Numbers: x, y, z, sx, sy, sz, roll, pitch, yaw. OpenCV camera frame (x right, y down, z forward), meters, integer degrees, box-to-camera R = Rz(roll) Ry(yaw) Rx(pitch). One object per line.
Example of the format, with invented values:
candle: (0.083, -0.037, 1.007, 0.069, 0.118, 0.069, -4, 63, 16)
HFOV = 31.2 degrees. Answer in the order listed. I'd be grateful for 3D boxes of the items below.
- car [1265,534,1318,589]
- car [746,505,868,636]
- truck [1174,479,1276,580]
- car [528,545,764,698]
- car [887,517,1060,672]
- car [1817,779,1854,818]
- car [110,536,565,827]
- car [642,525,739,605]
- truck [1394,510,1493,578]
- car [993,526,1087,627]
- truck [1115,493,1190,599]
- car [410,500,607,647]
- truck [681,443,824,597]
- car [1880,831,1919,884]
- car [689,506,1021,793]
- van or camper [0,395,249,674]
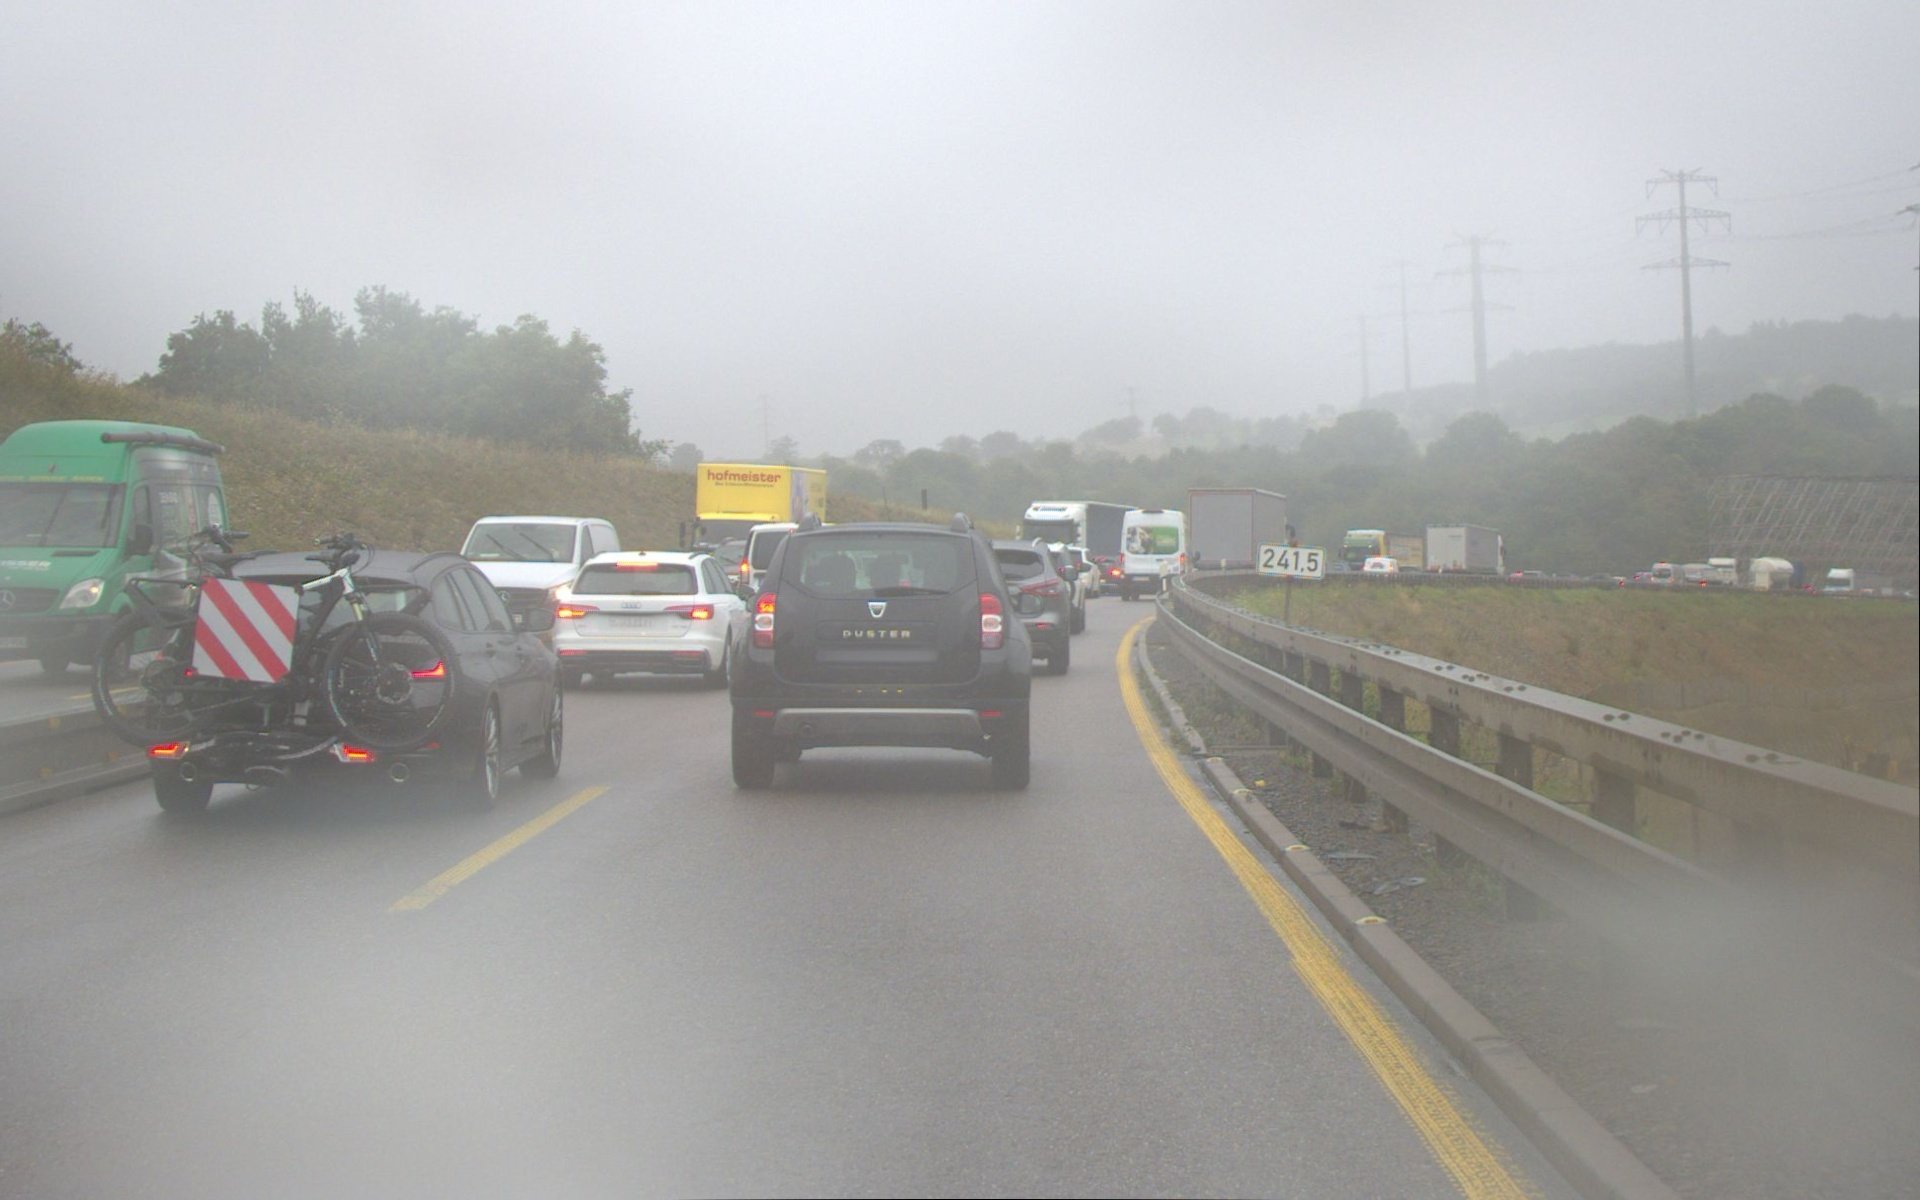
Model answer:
car: (12.073, -1.414, 125.034, 1.775, 1.909, 3.999, 2, 1, 7)
car: (-2.283, -0.468, 52.111, 1.660, 1.873, 4.020, 1, 1, -1)
truck: (10.350, -2.730, 133.771, 3.202, 3.748, 8.506, 2, 1, 9)
car: (-3.241, 0.178, 36.319, 1.868, 1.455, 4.548, 1, 1, 2)
car: (0.210, -0.101, 40.686, 1.868, 1.702, 4.000, 1, 1, 2)
car: (53.728, 12.172, 210.904, 1.995, 2.007, 3.997, 2, 1, 16)
car: (-3.397, 0.387, 19.439, 1.829, 1.471, 3.776, 0, 1, 1)
car: (-5.646, -0.764, 72.366, 1.760, 1.592, 4.000, 1, 1, -1)
truck: (31.492, -3.616, 223.162, 4.720, 4.135, 15.673, 2, 1, 14)
car: (1.373, -0.432, 59.213, 1.530, 1.635, 4.013, 1, 1, 1)
truck: (6.006, -1.682, 106.712, 2.149, 3.155, 6.459, 1, 1, 4)
car: (-6.233, -0.400, 48.050, 2.000, 1.880, 5.274, 1, 1, 0)
truck: (-5.594, -2.168, 94.067, 2.769, 3.983, 8.422, 1, 1, 4)
car: (43.305, 11.669, 155.594, 2.365, 2.007, 4.000, 1, 1, 3)
car: (-0.571, 0.256, 21.659, 1.804, 1.640, 3.776, 0, 1, 3)
van or camper: (-9.556, -0.731, 37.843, 2.100, 2.808, 5.943, 1, 1, 1)
